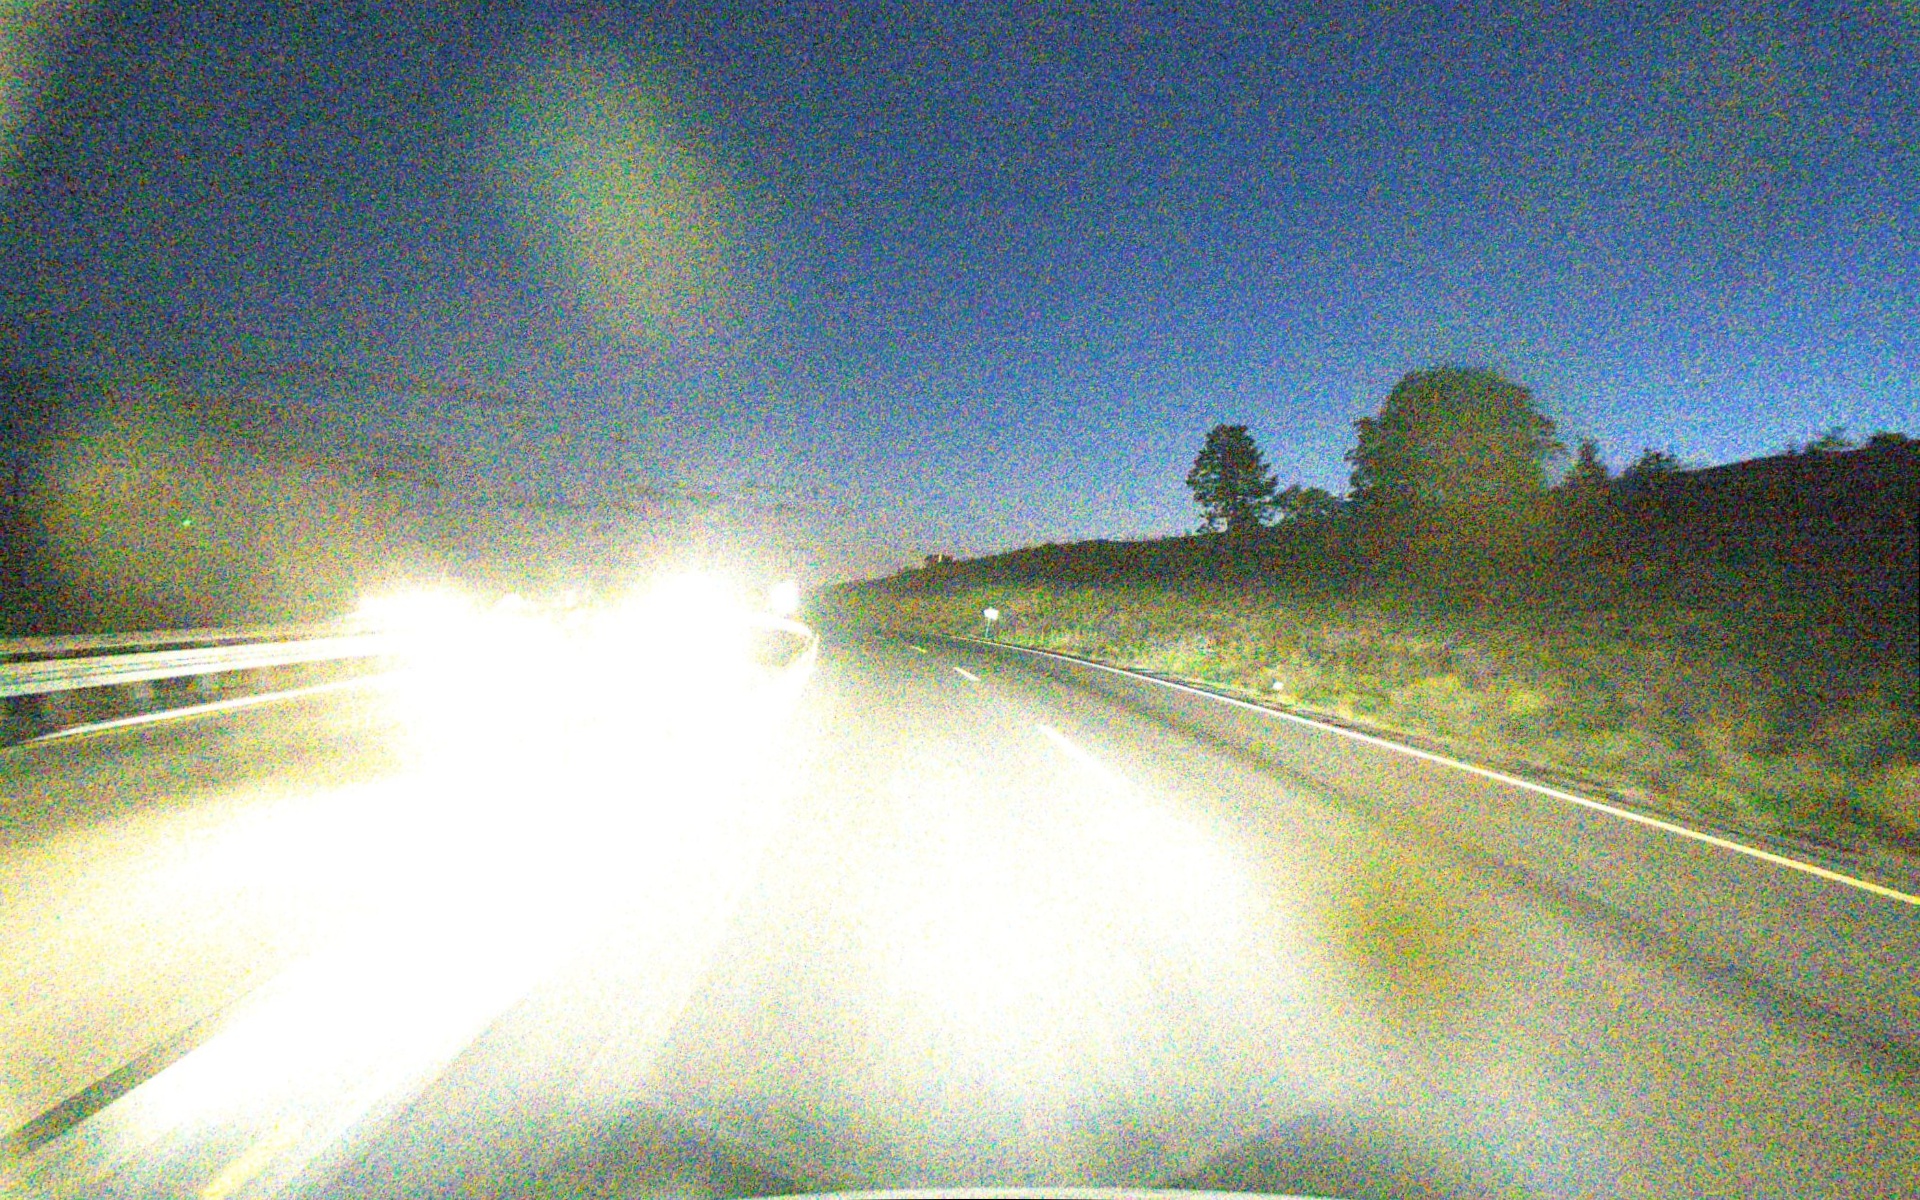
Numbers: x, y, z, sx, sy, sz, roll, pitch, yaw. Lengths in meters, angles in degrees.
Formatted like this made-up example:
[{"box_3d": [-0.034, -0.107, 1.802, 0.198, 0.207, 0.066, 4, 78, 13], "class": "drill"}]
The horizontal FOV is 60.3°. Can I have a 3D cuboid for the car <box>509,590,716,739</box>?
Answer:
[{"box_3d": [-3.793, 0.669, 18.638, 1.618, 1.495, 3.998, 0, -1, -2], "class": "car"}]

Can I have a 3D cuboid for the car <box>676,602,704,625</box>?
[{"box_3d": [-20.256, 0.997, 124.077, 1.958, 1.668, 3.990, -1, -1, -10], "class": "car"}]

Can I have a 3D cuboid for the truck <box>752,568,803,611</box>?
[{"box_3d": [-20.995, -1.162, 189.822, 3.944, 4.631, 13.901, -1, -1, -14], "class": "truck"}]

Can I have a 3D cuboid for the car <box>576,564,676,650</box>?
[{"box_3d": [-8.565, 0.198, 42.836, 1.955, 2.049, 5.580, -1, 0, -6], "class": "car"}]
